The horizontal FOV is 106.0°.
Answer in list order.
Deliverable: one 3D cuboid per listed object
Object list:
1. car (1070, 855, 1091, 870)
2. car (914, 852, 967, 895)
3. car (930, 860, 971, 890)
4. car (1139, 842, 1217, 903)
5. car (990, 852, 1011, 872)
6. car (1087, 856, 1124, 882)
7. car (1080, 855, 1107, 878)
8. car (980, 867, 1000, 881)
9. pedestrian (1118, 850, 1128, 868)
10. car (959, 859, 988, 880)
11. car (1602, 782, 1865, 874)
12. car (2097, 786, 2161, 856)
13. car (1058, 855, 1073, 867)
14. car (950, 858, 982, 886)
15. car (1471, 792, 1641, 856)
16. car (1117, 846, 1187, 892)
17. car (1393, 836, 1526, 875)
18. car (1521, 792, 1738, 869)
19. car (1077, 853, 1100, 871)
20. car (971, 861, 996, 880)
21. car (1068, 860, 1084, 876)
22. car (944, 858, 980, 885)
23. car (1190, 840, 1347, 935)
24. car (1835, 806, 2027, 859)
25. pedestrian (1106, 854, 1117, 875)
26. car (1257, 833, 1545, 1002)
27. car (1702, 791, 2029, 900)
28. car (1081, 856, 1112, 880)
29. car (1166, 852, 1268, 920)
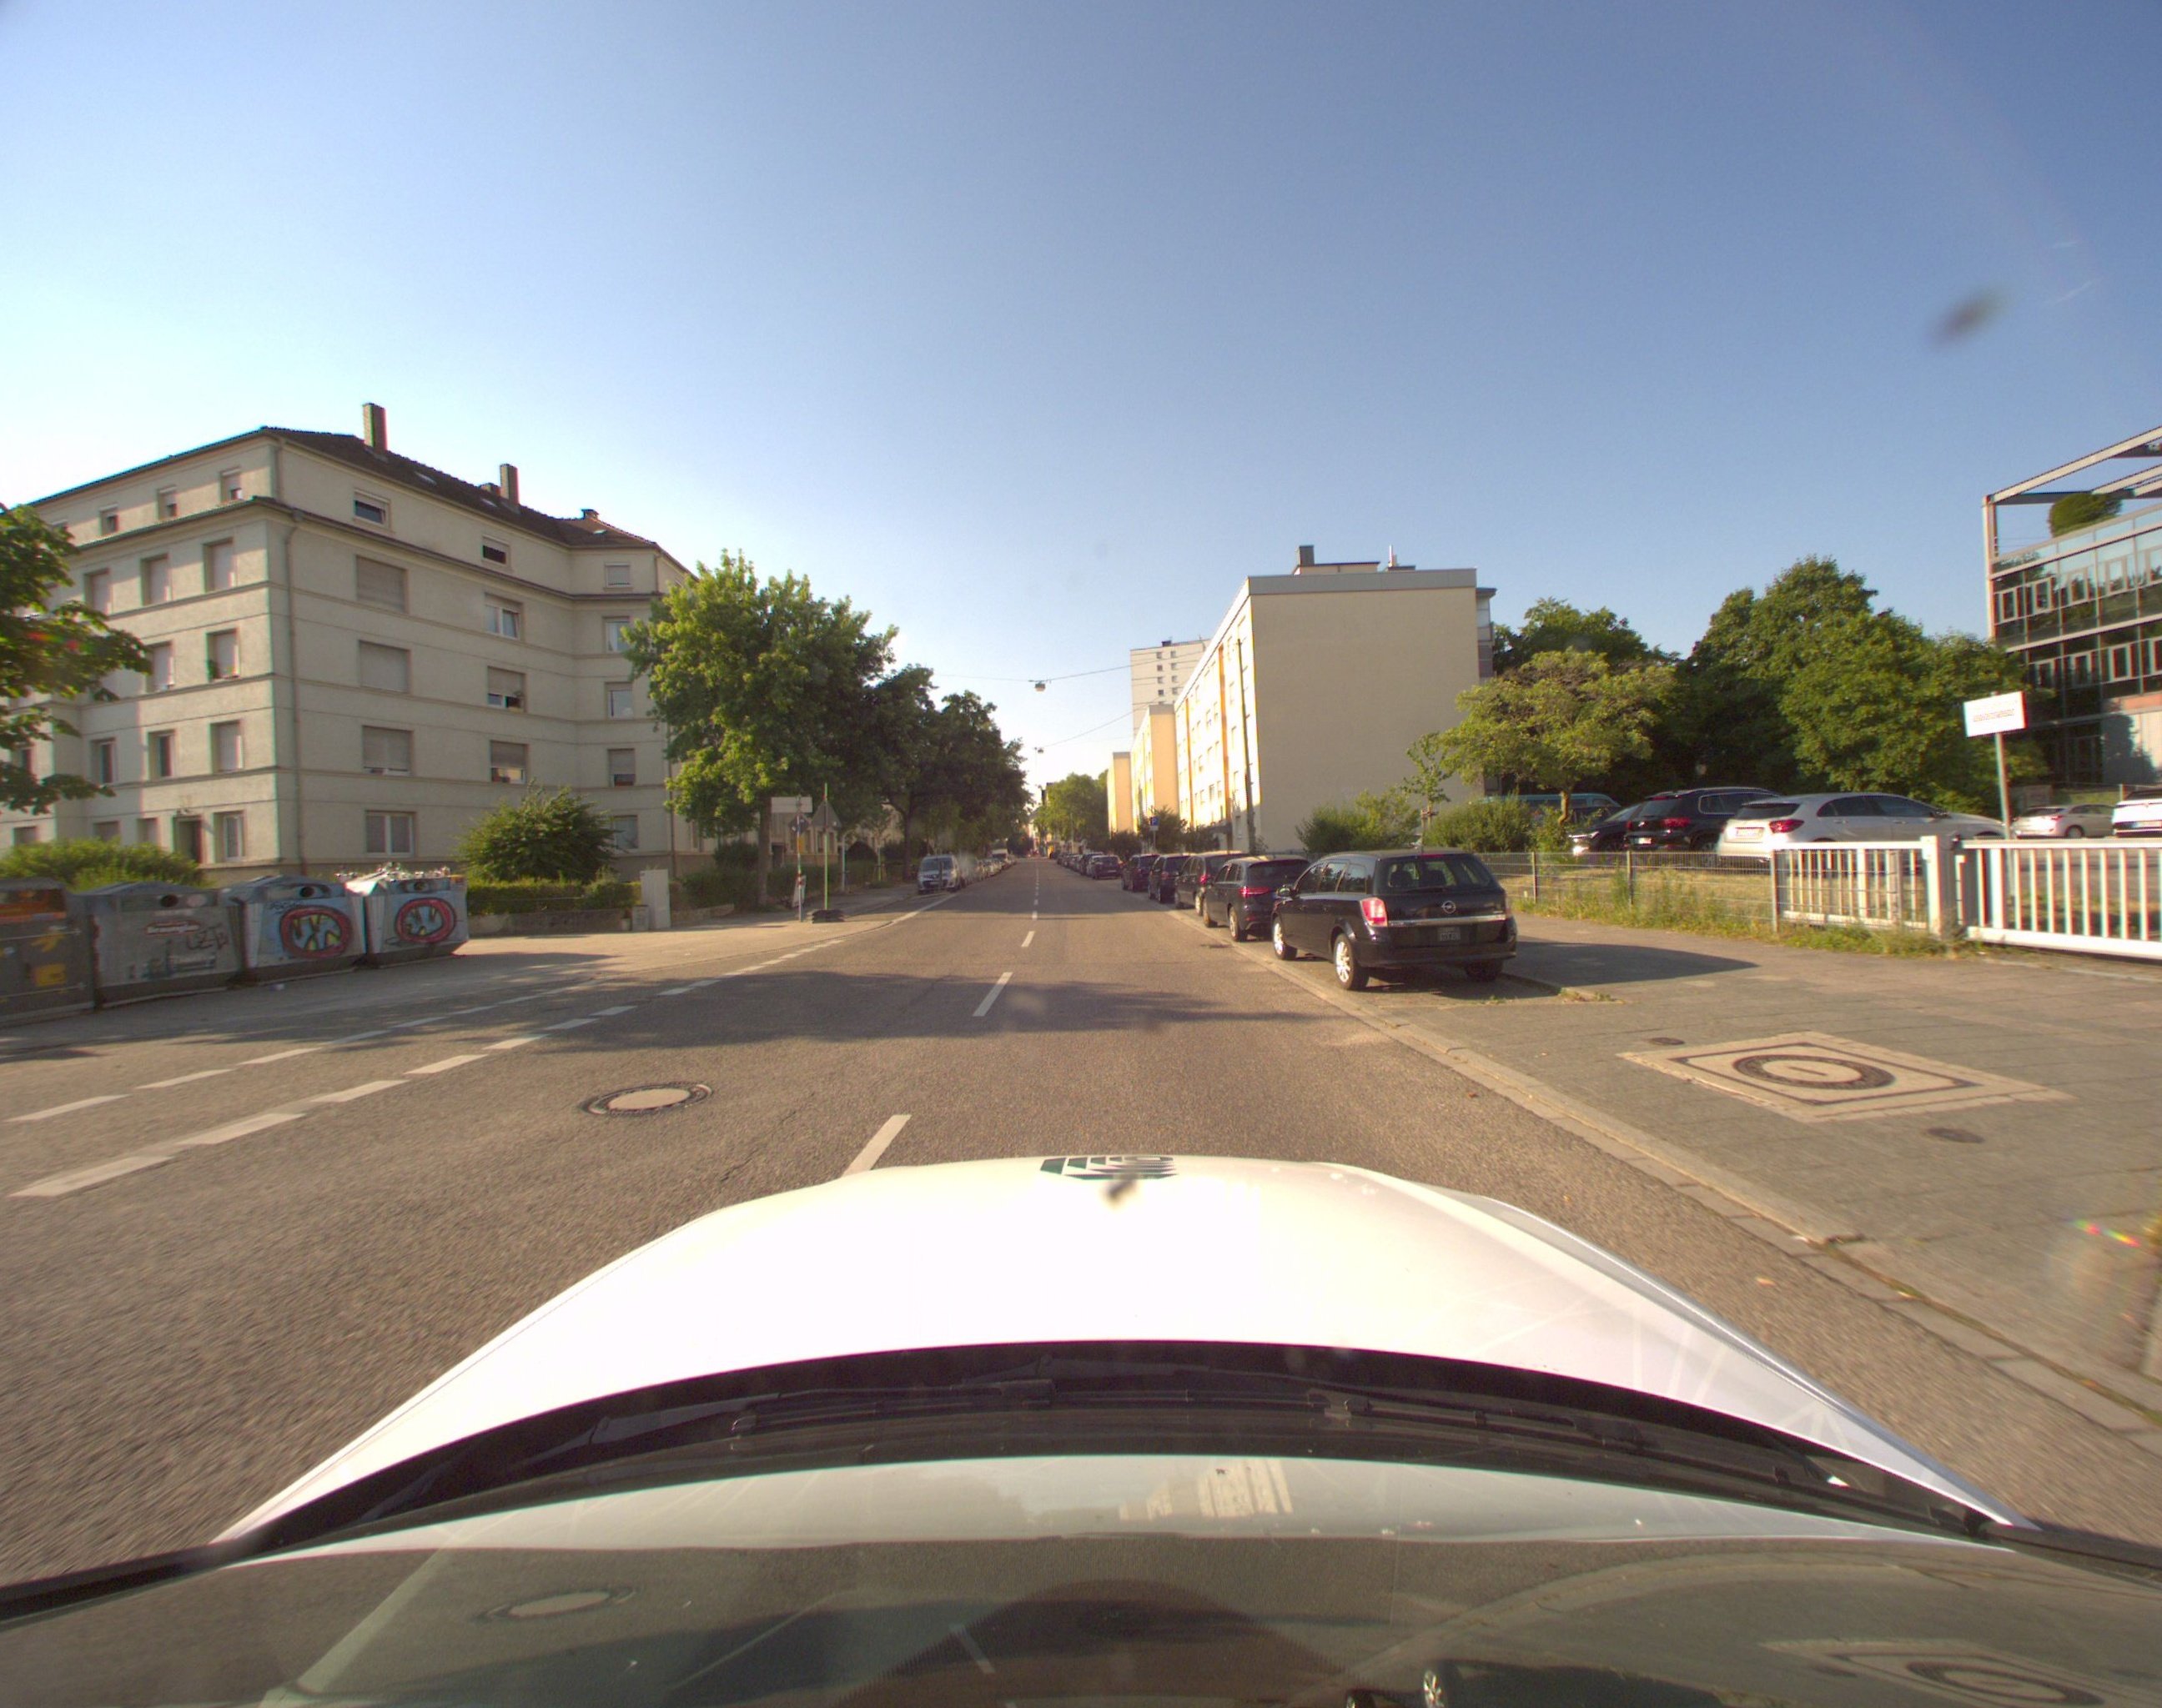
[{"bbox_3d":[-0.083,0.886,84.326,1.870,1.443,3.992,0,-1,-5],"label":"car"},{"bbox_3d":[-6.563,0.916,38.411,1.836,1.896,4.483,0,-1,-2],"label":"car"},{"bbox_3d":[-6.978,1.109,43.739,1.870,1.552,3.992,0,-1,-5],"label":"car"},{"bbox_3d":[3.008,0.575,26.142,1.896,1.779,4.580,0,-1,-1],"label":"car"},{"bbox_3d":[-10.133,1.015,102.461,2.353,2.446,6.157,0,-1,-3],"label":"car"},{"bbox_3d":[1.484,0.950,50.903,1.796,1.507,4.613,0,-1,-5],"label":"car"},{"bbox_3d":[0.931,0.941,62.171,1.768,1.678,4.640,-1,-1,-3],"label":"car"},{"bbox_3d":[-9.031,1.987,80.874,1.870,1.355,4.645,0,-1,-5],"label":"car"},{"bbox_3d":[4.025,0.512,77.570,0.764,1.658,0.536,-4,-1,-4],"label":"pedestrian"},{"bbox_3d":[-7.875,1.143,60.094,1.870,1.434,4.795,0,-1,-5],"label":"car"},{"bbox_3d":[13.517,-0.494,17.061,3.978,1.794,1.998,0,-1,-3],"label":"car"},{"bbox_3d":[27.211,-0.781,19.172,4.463,1.602,1.732,0,-1,-1],"label":"car"},{"bbox_3d":[-2.325,1.115,124.258,1.895,1.651,4.335,-6,0,-5],"label":"car"},{"bbox_3d":[-7.516,1.183,53.611,1.870,1.759,4.681,0,-1,-5],"label":"car"},{"bbox_3d":[14.187,-0.864,24.489,3.978,1.794,1.998,0,-1,-3],"label":"car"},{"bbox_3d":[2.767,0.595,32.997,1.883,1.561,4.937,-5,-1,-5],"label":"car"},{"bbox_3d":[14.868,0.069,32.144,4.463,1.455,1.732,0,-1,-1],"label":"car"},{"bbox_3d":[13.256,-0.532,19.867,3.976,1.794,1.999,0,-1,-2],"label":"car"},{"bbox_3d":[0.659,0.771,74.001,1.768,1.454,3.995,-4,-1,-3],"label":"car"},{"bbox_3d":[-8.416,1.423,70.499,2.001,1.552,4.463,0,-1,-5],"label":"car"},{"bbox_3d":[-0.557,1.685,96.241,1.831,1.772,3.977,-2,-1,0],"label":"car"},{"bbox_3d":[-7.093,1.063,48.863,1.870,1.552,3.992,0,-1,-5],"label":"car"},{"bbox_3d":[3.432,0.609,15.912,1.896,1.529,4.808,-1,-1,-1],"label":"car"},{"bbox_3d":[27.523,-0.672,26.460,4.463,1.602,1.732,0,-1,-1],"label":"car"},{"bbox_3d":[2.722,0.978,73.229,0.886,1.891,1.277,0,-1,-3],"label":"pedestrian"},{"bbox_3d":[3.603,0.661,10.172,1.736,1.541,4.438,-3,-1,-1],"label":"car"},{"bbox_3d":[13.748,-0.123,14.460,3.978,1.794,1.998,0,-1,-3],"label":"car"},{"bbox_3d":[1.048,1.016,56.983,1.768,1.508,3.995,-4,-1,-3],"label":"car"},{"bbox_3d":[3.386,0.745,21.009,1.647,1.436,3.954,-2,1,-4],"label":"car"}]
